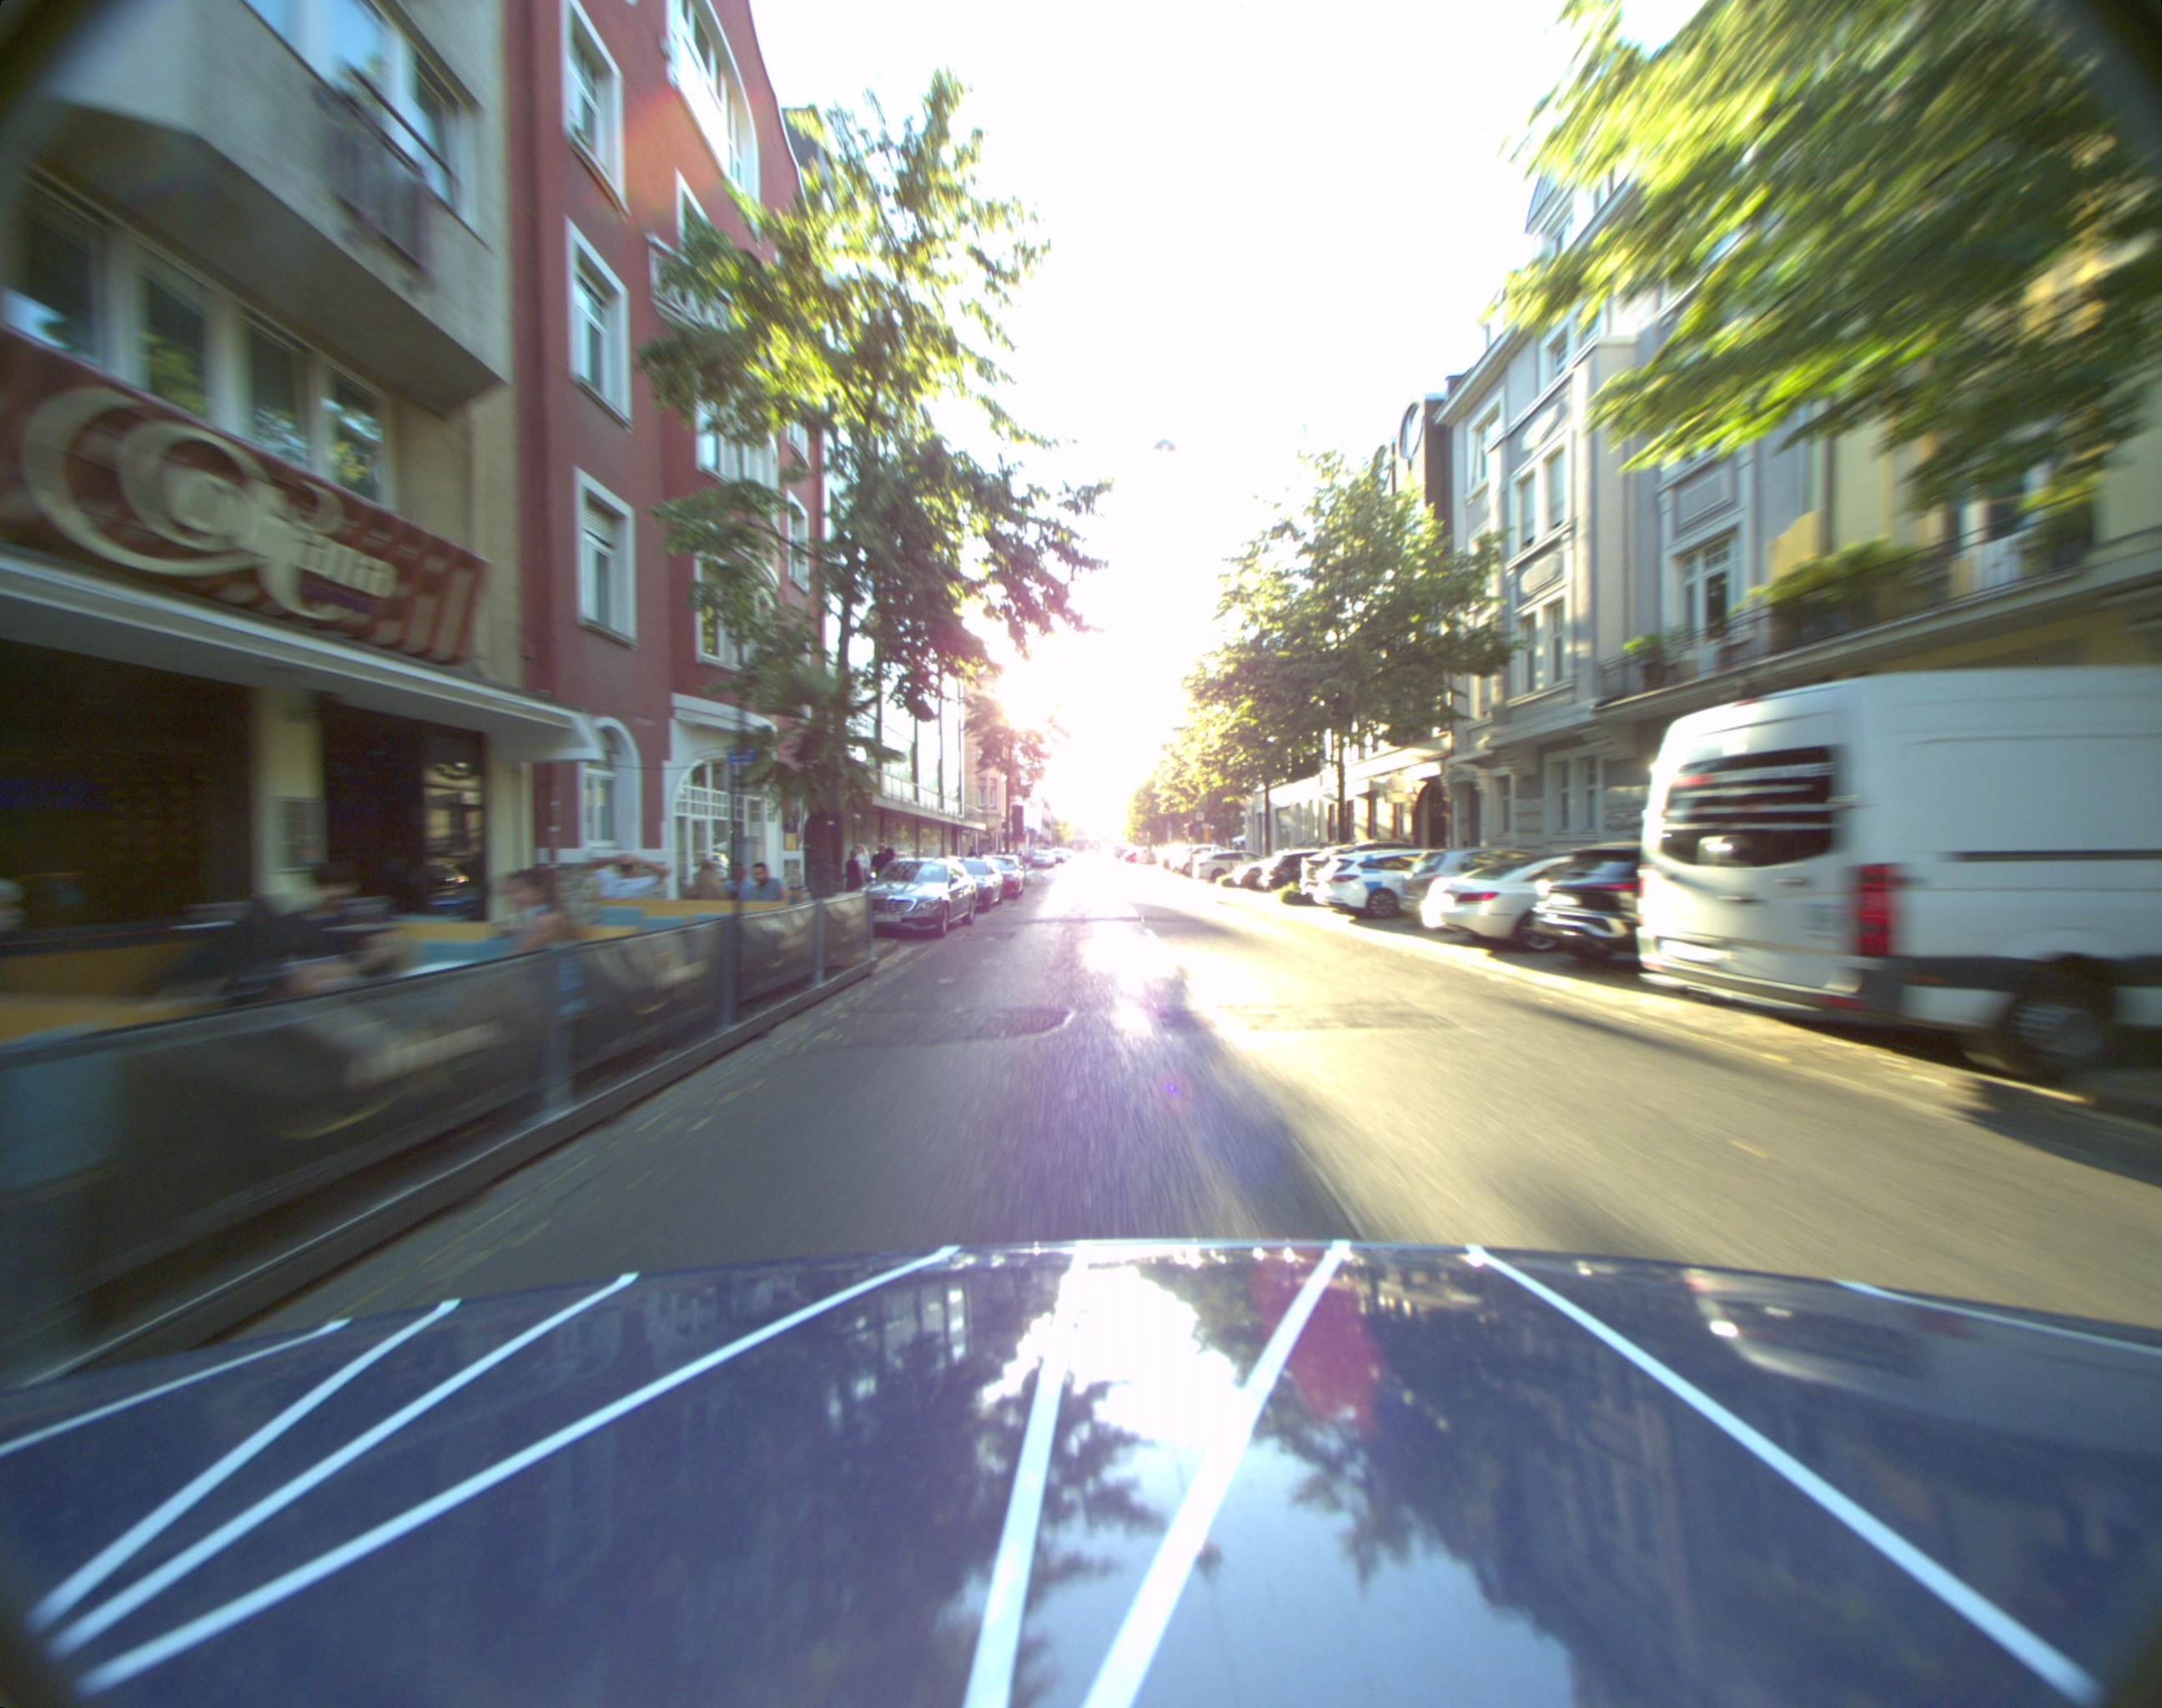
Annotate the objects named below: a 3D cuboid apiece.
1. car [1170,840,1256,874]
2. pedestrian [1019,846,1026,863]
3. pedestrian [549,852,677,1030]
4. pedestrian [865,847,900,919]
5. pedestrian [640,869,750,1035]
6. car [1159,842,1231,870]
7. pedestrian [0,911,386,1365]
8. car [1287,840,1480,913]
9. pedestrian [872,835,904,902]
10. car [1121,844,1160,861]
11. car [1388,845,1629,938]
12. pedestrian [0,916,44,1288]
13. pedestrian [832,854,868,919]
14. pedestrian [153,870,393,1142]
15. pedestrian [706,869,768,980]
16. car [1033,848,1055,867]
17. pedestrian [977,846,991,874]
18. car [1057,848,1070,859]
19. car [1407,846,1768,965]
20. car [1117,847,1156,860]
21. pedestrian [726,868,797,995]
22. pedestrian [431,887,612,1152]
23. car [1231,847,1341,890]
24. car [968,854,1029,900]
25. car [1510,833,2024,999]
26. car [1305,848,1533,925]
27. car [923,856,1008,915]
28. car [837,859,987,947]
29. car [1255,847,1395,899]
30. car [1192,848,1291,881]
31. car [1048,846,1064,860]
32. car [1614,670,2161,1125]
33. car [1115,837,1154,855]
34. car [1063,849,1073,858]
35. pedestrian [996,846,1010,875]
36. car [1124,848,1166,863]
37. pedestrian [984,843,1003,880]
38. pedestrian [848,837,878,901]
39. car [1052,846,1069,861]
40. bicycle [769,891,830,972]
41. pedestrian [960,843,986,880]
[{"bbox_3d":[7.722,0.170,44.863,4.718,1.800,2.053,-2,0,2],"label":"car"},{"bbox_3d":[-5.836,0.020,75.536,0.599,1.653,0.603,1,2,6],"label":"pedestrian"},{"bbox_3d":[-4.433,0.783,7.246,0.709,1.589,0.795,1,1,1],"label":"pedestrian"},{"bbox_3d":[-4.677,0.668,17.941,0.626,1.667,0.640,0,1,1],"label":"pedestrian"},{"bbox_3d":[-3.683,0.901,7.307,0.633,1.476,0.795,1,1,1],"label":"pedestrian"},{"bbox_3d":[7.723,0.123,51.652,4.567,1.772,1.946,-1,1,0],"label":"car"},{"bbox_3d":[-3.041,0.887,2.651,0.579,1.311,0.704,1,1,1],"label":"pedestrian"},{"bbox_3d":[7.831,0.550,19.921,4.242,1.641,1.892,-2,0,-3],"label":"car"},{"bbox_3d":[-5.536,0.396,21.831,0.627,1.857,0.976,2,1,0],"label":"pedestrian"},{"bbox_3d":[7.188,-0.197,91.754,4.579,1.922,1.896,-1,1,-37],"label":"car"},{"bbox_3d":[7.772,0.655,14.105,3.415,1.501,1.847,-2,0,4],"label":"car"},{"bbox_3d":[-4.312,0.928,2.642,0.579,1.377,0.603,1,1,1],"label":"pedestrian"},{"bbox_3d":[-5.351,0.744,17.634,0.626,1.480,0.640,0,1,1],"label":"pedestrian"},{"bbox_3d":[-4.494,0.792,4.281,0.579,1.377,0.718,1,1,1],"label":"pedestrian"},{"bbox_3d":[-4.298,0.873,9.511,0.549,1.337,0.438,1,1,1],"label":"pedestrian"},{"bbox_3d":[-3.366,0.283,70.500,1.758,1.639,3.793,2,1,0],"label":"car"},{"bbox_3d":[-5.985,0.368,47.047,0.756,1.748,0.812,-1,1,0],"label":"pedestrian"},{"bbox_3d":[-2.587,-0.068,113.806,1.758,1.639,3.793,2,1,0],"label":"car"},{"bbox_3d":[7.457,0.712,11.498,4.223,1.497,1.793,-2,0,0],"label":"car"},{"bbox_3d":[7.214,-0.028,98.780,4.577,1.573,2.131,-1,1,-28],"label":"car"},{"bbox_3d":[-3.822,0.904,9.132,0.579,1.454,0.603,1,1,1],"label":"pedestrian"},{"bbox_3d":[-3.167,0.896,4.348,0.579,1.377,0.603,1,1,1],"label":"pedestrian"},{"bbox_3d":[7.904,0.541,29.612,3.794,1.440,1.789,-3,0,3],"label":"car"},{"bbox_3d":[-2.943,0.763,28.032,1.726,1.484,4.752,1,0,0],"label":"car"},{"bbox_3d":[7.773,0.653,8.994,4.223,1.591,1.975,-2,0,2],"label":"car"},{"bbox_3d":[7.425,0.681,17.013,4.197,1.474,1.970,-2,0,0],"label":"car"},{"bbox_3d":[-3.229,0.833,22.069,1.779,1.462,4.417,1,0,0],"label":"car"},{"bbox_3d":[-3.257,0.869,15.736,1.779,1.432,5.000,1,0,2],"label":"car"},{"bbox_3d":[7.801,0.587,24.504,3.925,1.440,1.696,-3,1,-2],"label":"car"},{"bbox_3d":[7.743,0.497,36.957,4.393,1.415,1.822,-2,0,0],"label":"car"},{"bbox_3d":[-3.081,-0.154,93.121,1.758,1.639,3.793,2,1,0],"label":"car"},{"bbox_3d":[7.510,0.180,5.522,5.672,2.606,2.171,-2,1,1],"label":"car"},{"bbox_3d":[7.151,-1.069,101.939,4.782,2.344,2.153,-1,1,-27],"label":"car"},{"bbox_3d":[-2.509,-0.158,145.330,1.804,1.570,4.403,1,0,1],"label":"car"},{"bbox_3d":[-4.838,0.406,46.983,0.756,1.748,0.812,-1,1,0],"label":"pedestrian"},{"bbox_3d":[7.172,0.123,85.002,4.579,1.548,1.809,-1,1,-37],"label":"car"},{"bbox_3d":[-4.287,0.379,37.455,0.731,1.775,0.870,3,1,1],"label":"pedestrian"},{"bbox_3d":[-6.243,0.423,21.797,0.590,1.799,0.835,2,1,0],"label":"pedestrian"},{"bbox_3d":[-2.728,-0.090,101.365,1.867,1.900,4.256,3,1,3],"label":"car"},{"bbox_3d":[-4.014,1.071,10.936,0.386,0.978,1.711,-1,1,-6],"label":"bicycle"},{"bbox_3d":[-5.326,0.345,37.470,1.049,1.775,0.945,2,1,1],"label":"pedestrian"}]
